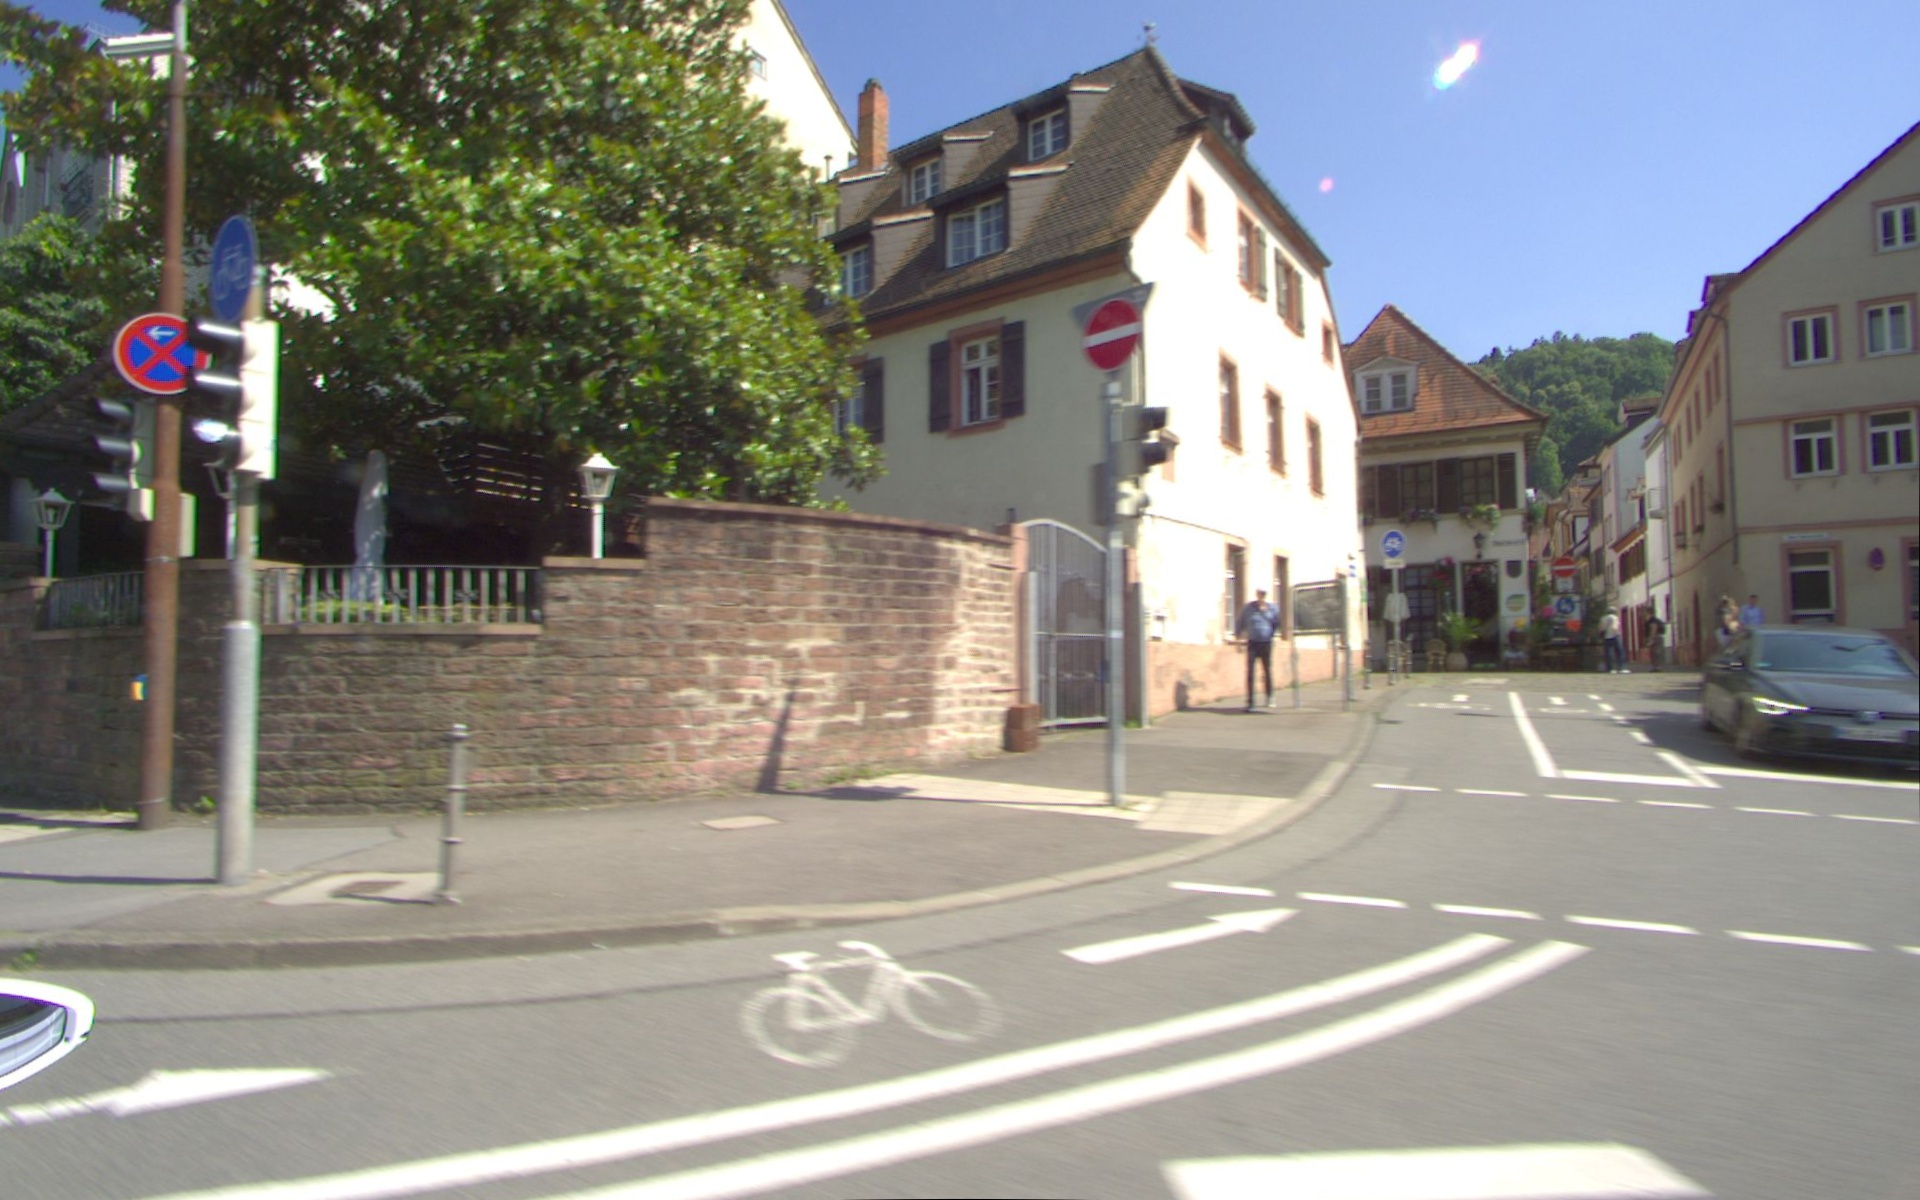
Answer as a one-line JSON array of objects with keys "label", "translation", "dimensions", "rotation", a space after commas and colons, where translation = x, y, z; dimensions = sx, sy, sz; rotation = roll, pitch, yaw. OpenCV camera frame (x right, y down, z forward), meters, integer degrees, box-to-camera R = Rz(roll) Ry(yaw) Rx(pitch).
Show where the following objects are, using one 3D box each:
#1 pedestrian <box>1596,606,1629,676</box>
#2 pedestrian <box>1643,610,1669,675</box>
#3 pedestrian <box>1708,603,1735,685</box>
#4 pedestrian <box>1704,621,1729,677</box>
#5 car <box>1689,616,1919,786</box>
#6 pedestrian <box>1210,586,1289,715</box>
[{"label": "pedestrian", "translation": [16.246, 1.012, 24.934], "dimensions": [0.653, 1.704, 0.451], "rotation": [-1, 2, 34]}, {"label": "pedestrian", "translation": [17.410, 1.051, 25.065], "dimensions": [0.501, 1.597, 0.414], "rotation": [-1, 2, 33]}, {"label": "pedestrian", "translation": [17.174, 0.980, 22.587], "dimensions": [0.429, 1.812, 0.483], "rotation": [-1, 2, 33]}, {"label": "pedestrian", "translation": [17.596, 1.133, 23.296], "dimensions": [0.436, 1.294, 0.331], "rotation": [-1, 1, 34]}, {"label": "car", "translation": [9.741, 0.998, 11.401], "dimensions": [1.832, 1.506, 3.981], "rotation": [3, 1, 30]}, {"label": "pedestrian", "translation": [4.269, 0.730, 14.750], "dimensions": [0.852, 1.816, 0.921], "rotation": [-1, 0, 34]}]
